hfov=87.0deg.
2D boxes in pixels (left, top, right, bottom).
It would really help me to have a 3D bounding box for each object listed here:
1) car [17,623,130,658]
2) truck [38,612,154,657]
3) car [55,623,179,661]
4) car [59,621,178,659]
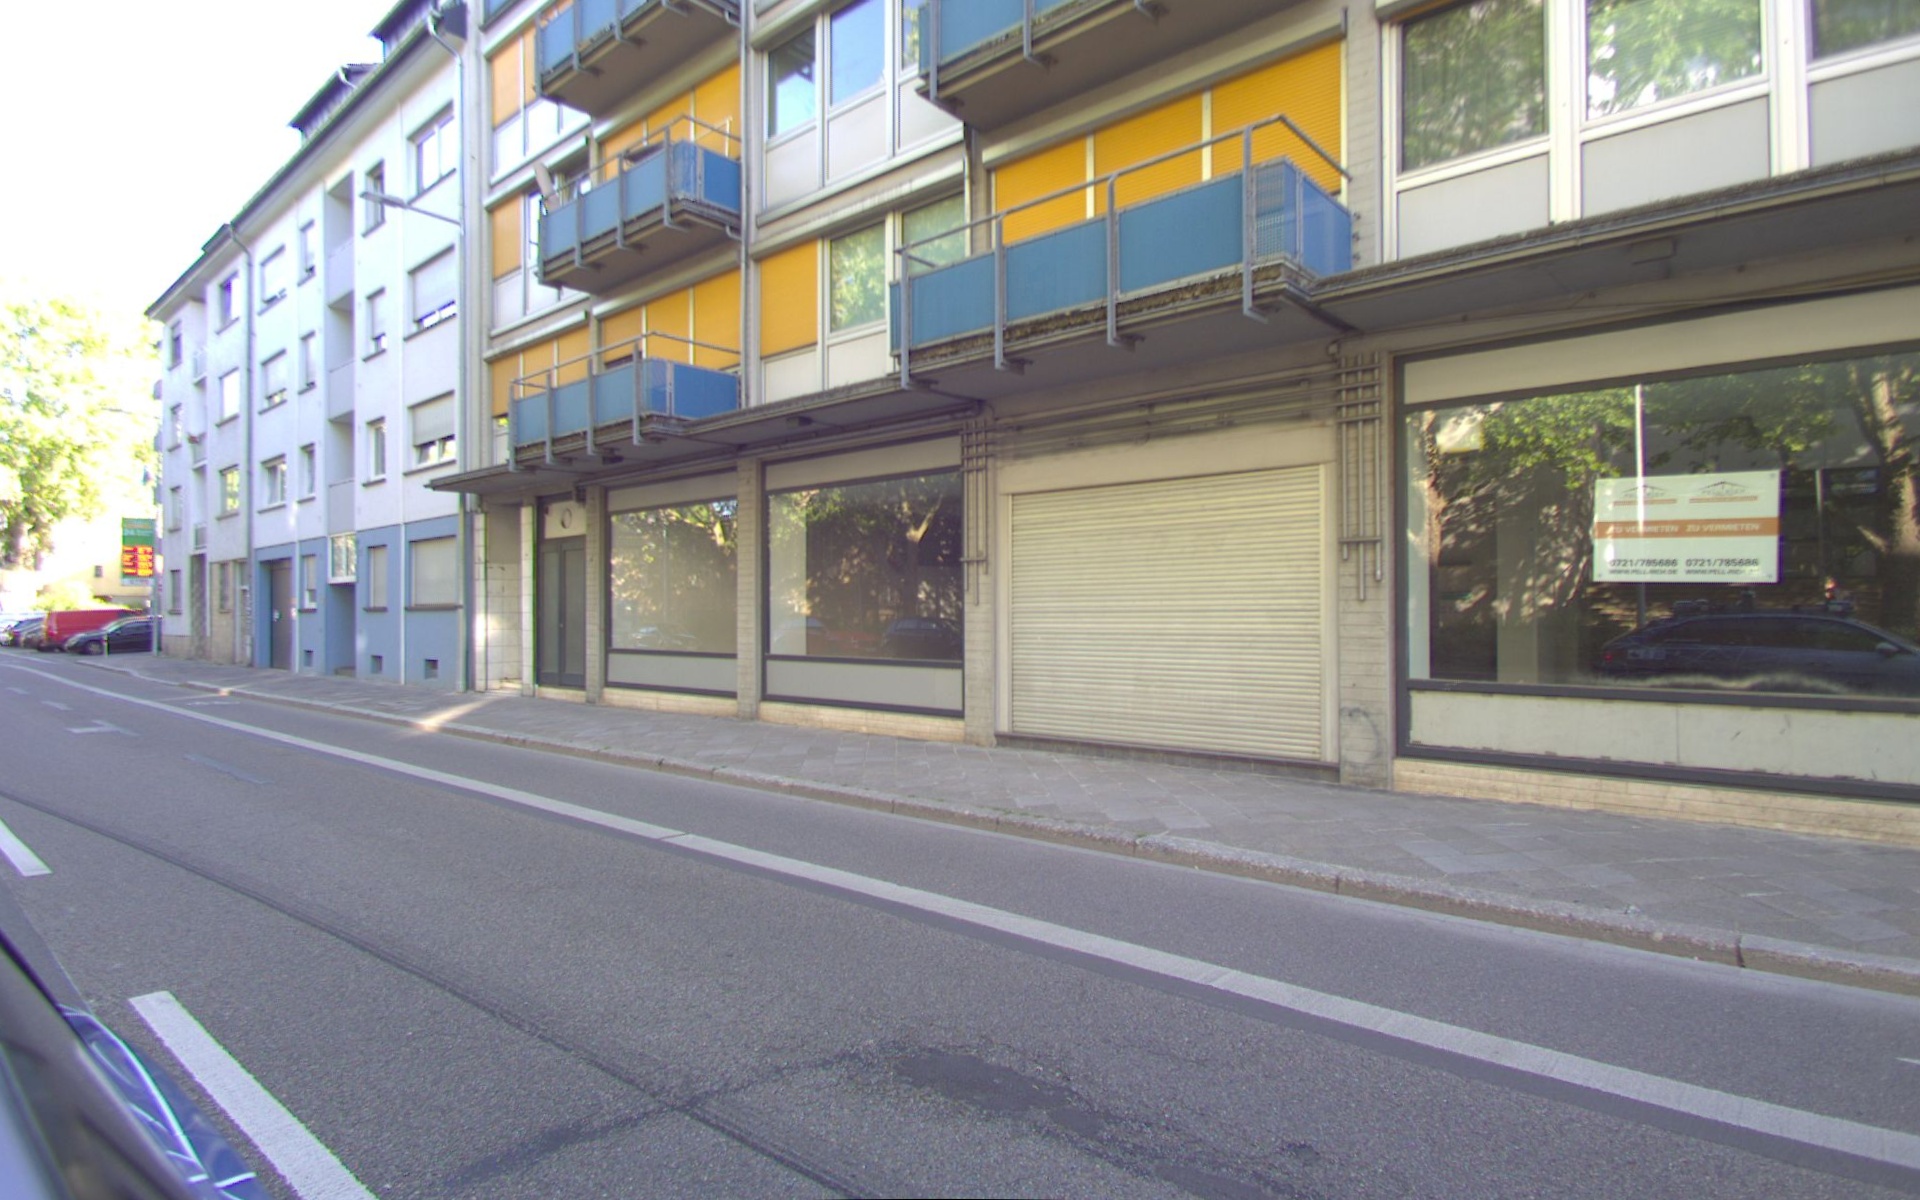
[{"bbox_3d":[-42.908,1.915,49.038,1.761,1.514,3.944,-1,0,42],"label":"car"},{"bbox_3d":[-40.498,1.583,47.491,1.761,1.951,3.944,-1,0,42],"label":"truck"},{"bbox_3d":[-36.626,1.773,44.012,1.761,1.468,3.944,-1,0,42],"label":"car"},{"bbox_3d":[-38.107,1.770,45.900,1.761,1.514,3.944,-1,0,42],"label":"car"}]
